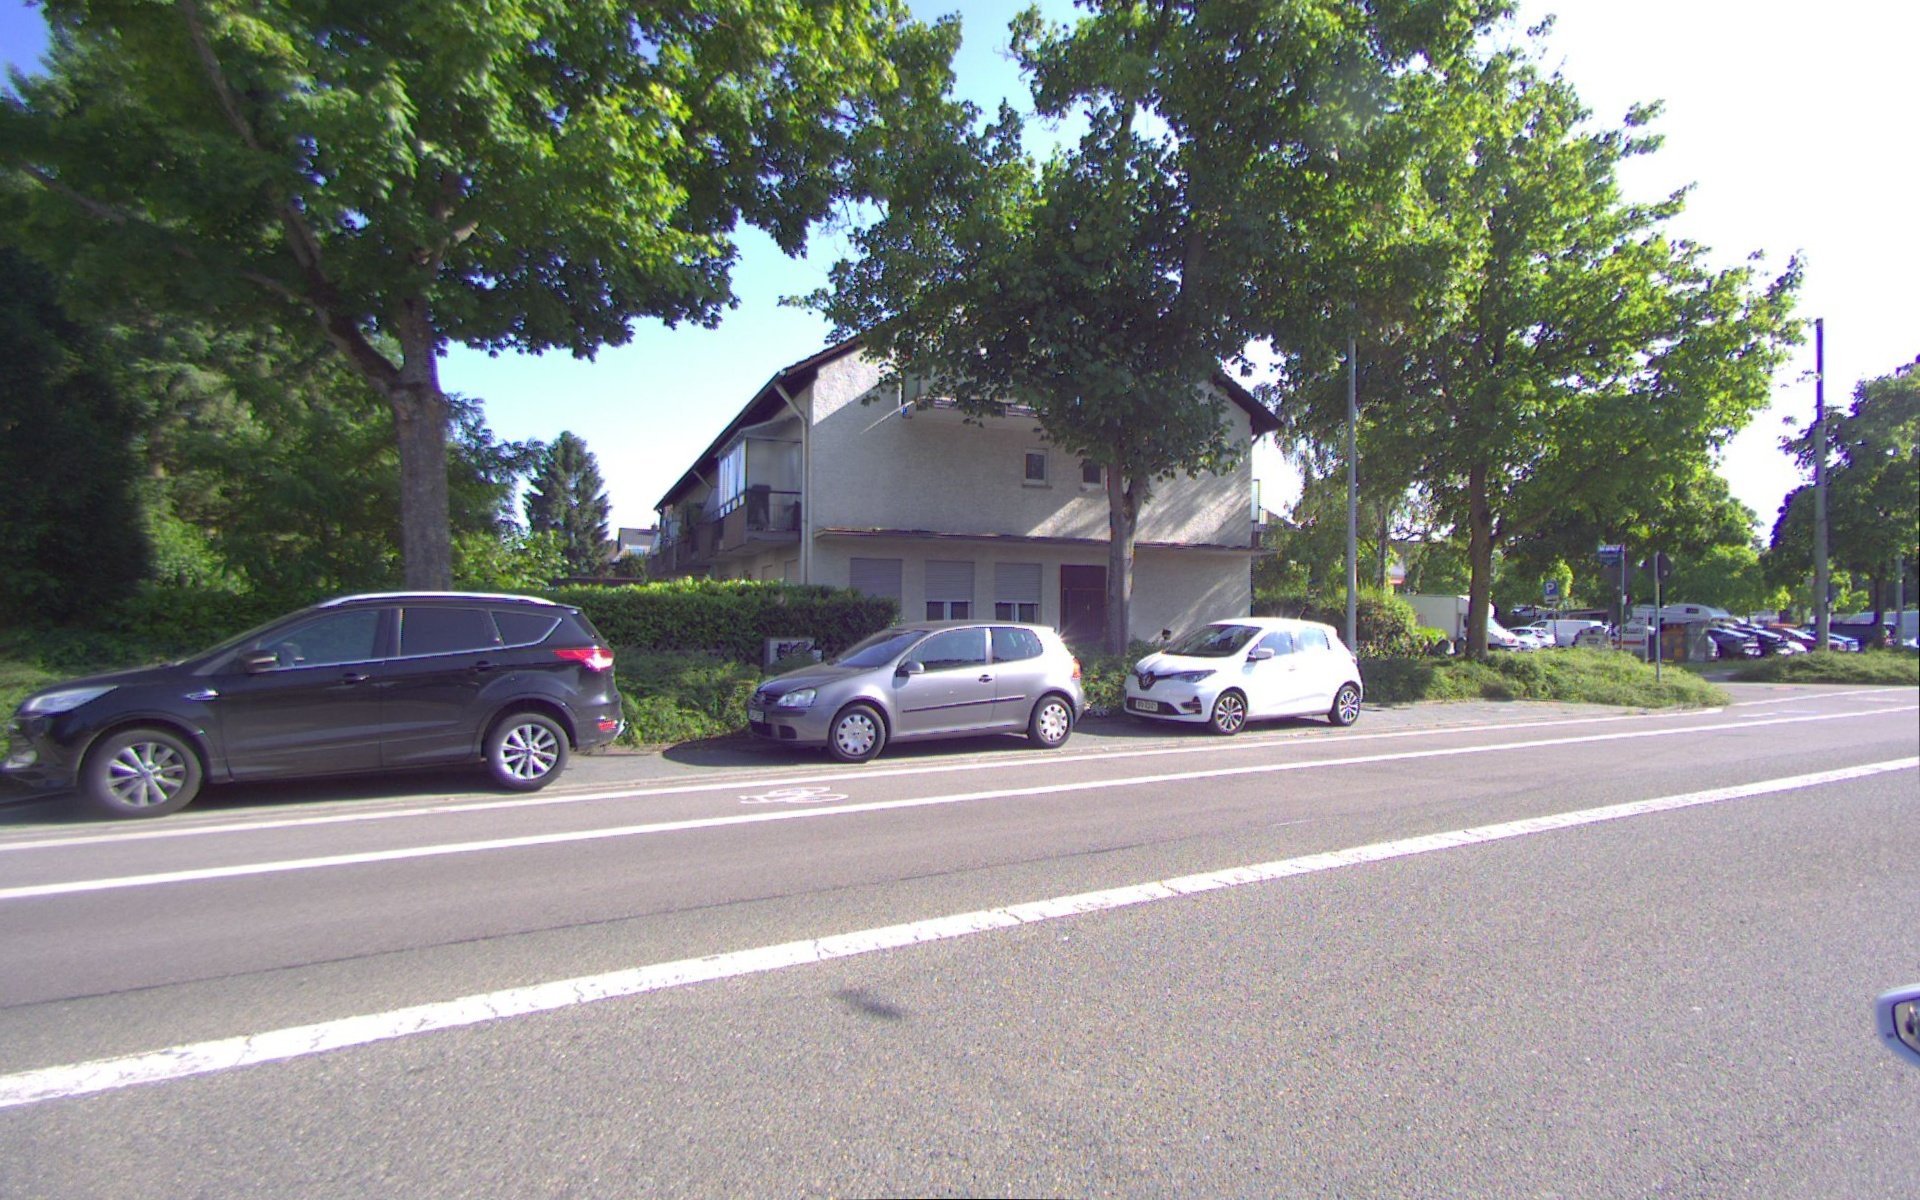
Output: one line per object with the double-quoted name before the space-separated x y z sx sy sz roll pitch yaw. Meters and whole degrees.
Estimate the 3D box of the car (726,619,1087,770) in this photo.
"car" -0.556 0.982 11.754 3.925 1.488 1.667 1 -1 -33

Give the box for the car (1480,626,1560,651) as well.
"car" 33.125 2.264 59.529 1.604 1.379 3.976 1 -1 -24

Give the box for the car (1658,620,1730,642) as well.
"car" 50.726 2.131 69.452 1.719 1.416 3.642 1 -1 -33

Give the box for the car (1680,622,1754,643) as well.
"car" 54.759 2.320 72.707 1.719 1.416 3.964 1 -1 -33

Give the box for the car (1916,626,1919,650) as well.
"car" 59.659 2.298 59.629 1.719 1.416 3.964 1 -1 -33

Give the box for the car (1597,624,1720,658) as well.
"car" 29.701 1.716 42.802 1.719 1.324 3.964 1 -1 -33

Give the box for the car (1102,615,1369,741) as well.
"car" 4.068 1.042 14.658 3.852 1.571 1.591 1 1 -33

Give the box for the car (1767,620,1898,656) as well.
"car" 43.508 1.856 50.214 2.026 1.673 4.594 1 -1 -31

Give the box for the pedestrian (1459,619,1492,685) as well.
"pedestrian" 13.111 1.301 25.554 0.603 1.649 0.522 1 -1 -30

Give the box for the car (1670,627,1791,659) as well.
"car" 34.274 1.891 44.757 1.719 1.324 3.964 1 -1 -33

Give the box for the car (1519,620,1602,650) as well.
"car" 35.614 2.053 59.686 1.611 1.751 3.959 1 -1 -36

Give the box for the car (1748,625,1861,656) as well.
"car" 41.340 1.943 49.254 1.719 1.416 3.964 1 -1 -33

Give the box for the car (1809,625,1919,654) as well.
"car" 47.291 2.059 52.616 1.719 1.416 3.964 1 -1 -33

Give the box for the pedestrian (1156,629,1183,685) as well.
"pedestrian" 4.469 1.212 21.403 0.440 1.177 0.345 1 -1 -22

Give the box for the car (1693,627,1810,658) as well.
"car" 36.781 1.948 46.755 1.719 1.324 3.964 1 -1 -33

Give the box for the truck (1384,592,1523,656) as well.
"truck" 26.831 1.302 54.954 1.965 3.285 6.926 1 -1 -31

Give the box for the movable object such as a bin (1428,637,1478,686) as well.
"movable object such as a bin" 12.318 1.522 25.077 1.246 1.161 0.539 1 -1 -30

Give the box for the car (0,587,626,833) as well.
"car" -5.351 0.801 8.785 4.370 1.716 1.704 1 -1 -30

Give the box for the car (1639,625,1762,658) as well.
"car" 32.031 1.771 43.521 1.719 1.324 3.964 1 -1 -33

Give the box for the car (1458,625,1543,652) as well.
"car" 31.047 2.169 57.785 1.719 1.477 3.964 1 -1 -33

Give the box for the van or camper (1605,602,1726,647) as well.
"van or camper" 47.809 1.607 68.270 2.279 2.906 6.436 1 -1 -29

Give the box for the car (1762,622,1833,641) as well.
"car" 65.168 2.451 78.214 1.719 1.416 3.964 1 -1 -33

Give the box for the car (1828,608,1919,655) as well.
"car" 50.444 1.700 54.011 2.062 2.456 5.351 1 -1 -29

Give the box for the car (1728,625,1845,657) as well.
"car" 38.988 1.892 47.460 1.719 1.416 3.964 1 -1 -33
